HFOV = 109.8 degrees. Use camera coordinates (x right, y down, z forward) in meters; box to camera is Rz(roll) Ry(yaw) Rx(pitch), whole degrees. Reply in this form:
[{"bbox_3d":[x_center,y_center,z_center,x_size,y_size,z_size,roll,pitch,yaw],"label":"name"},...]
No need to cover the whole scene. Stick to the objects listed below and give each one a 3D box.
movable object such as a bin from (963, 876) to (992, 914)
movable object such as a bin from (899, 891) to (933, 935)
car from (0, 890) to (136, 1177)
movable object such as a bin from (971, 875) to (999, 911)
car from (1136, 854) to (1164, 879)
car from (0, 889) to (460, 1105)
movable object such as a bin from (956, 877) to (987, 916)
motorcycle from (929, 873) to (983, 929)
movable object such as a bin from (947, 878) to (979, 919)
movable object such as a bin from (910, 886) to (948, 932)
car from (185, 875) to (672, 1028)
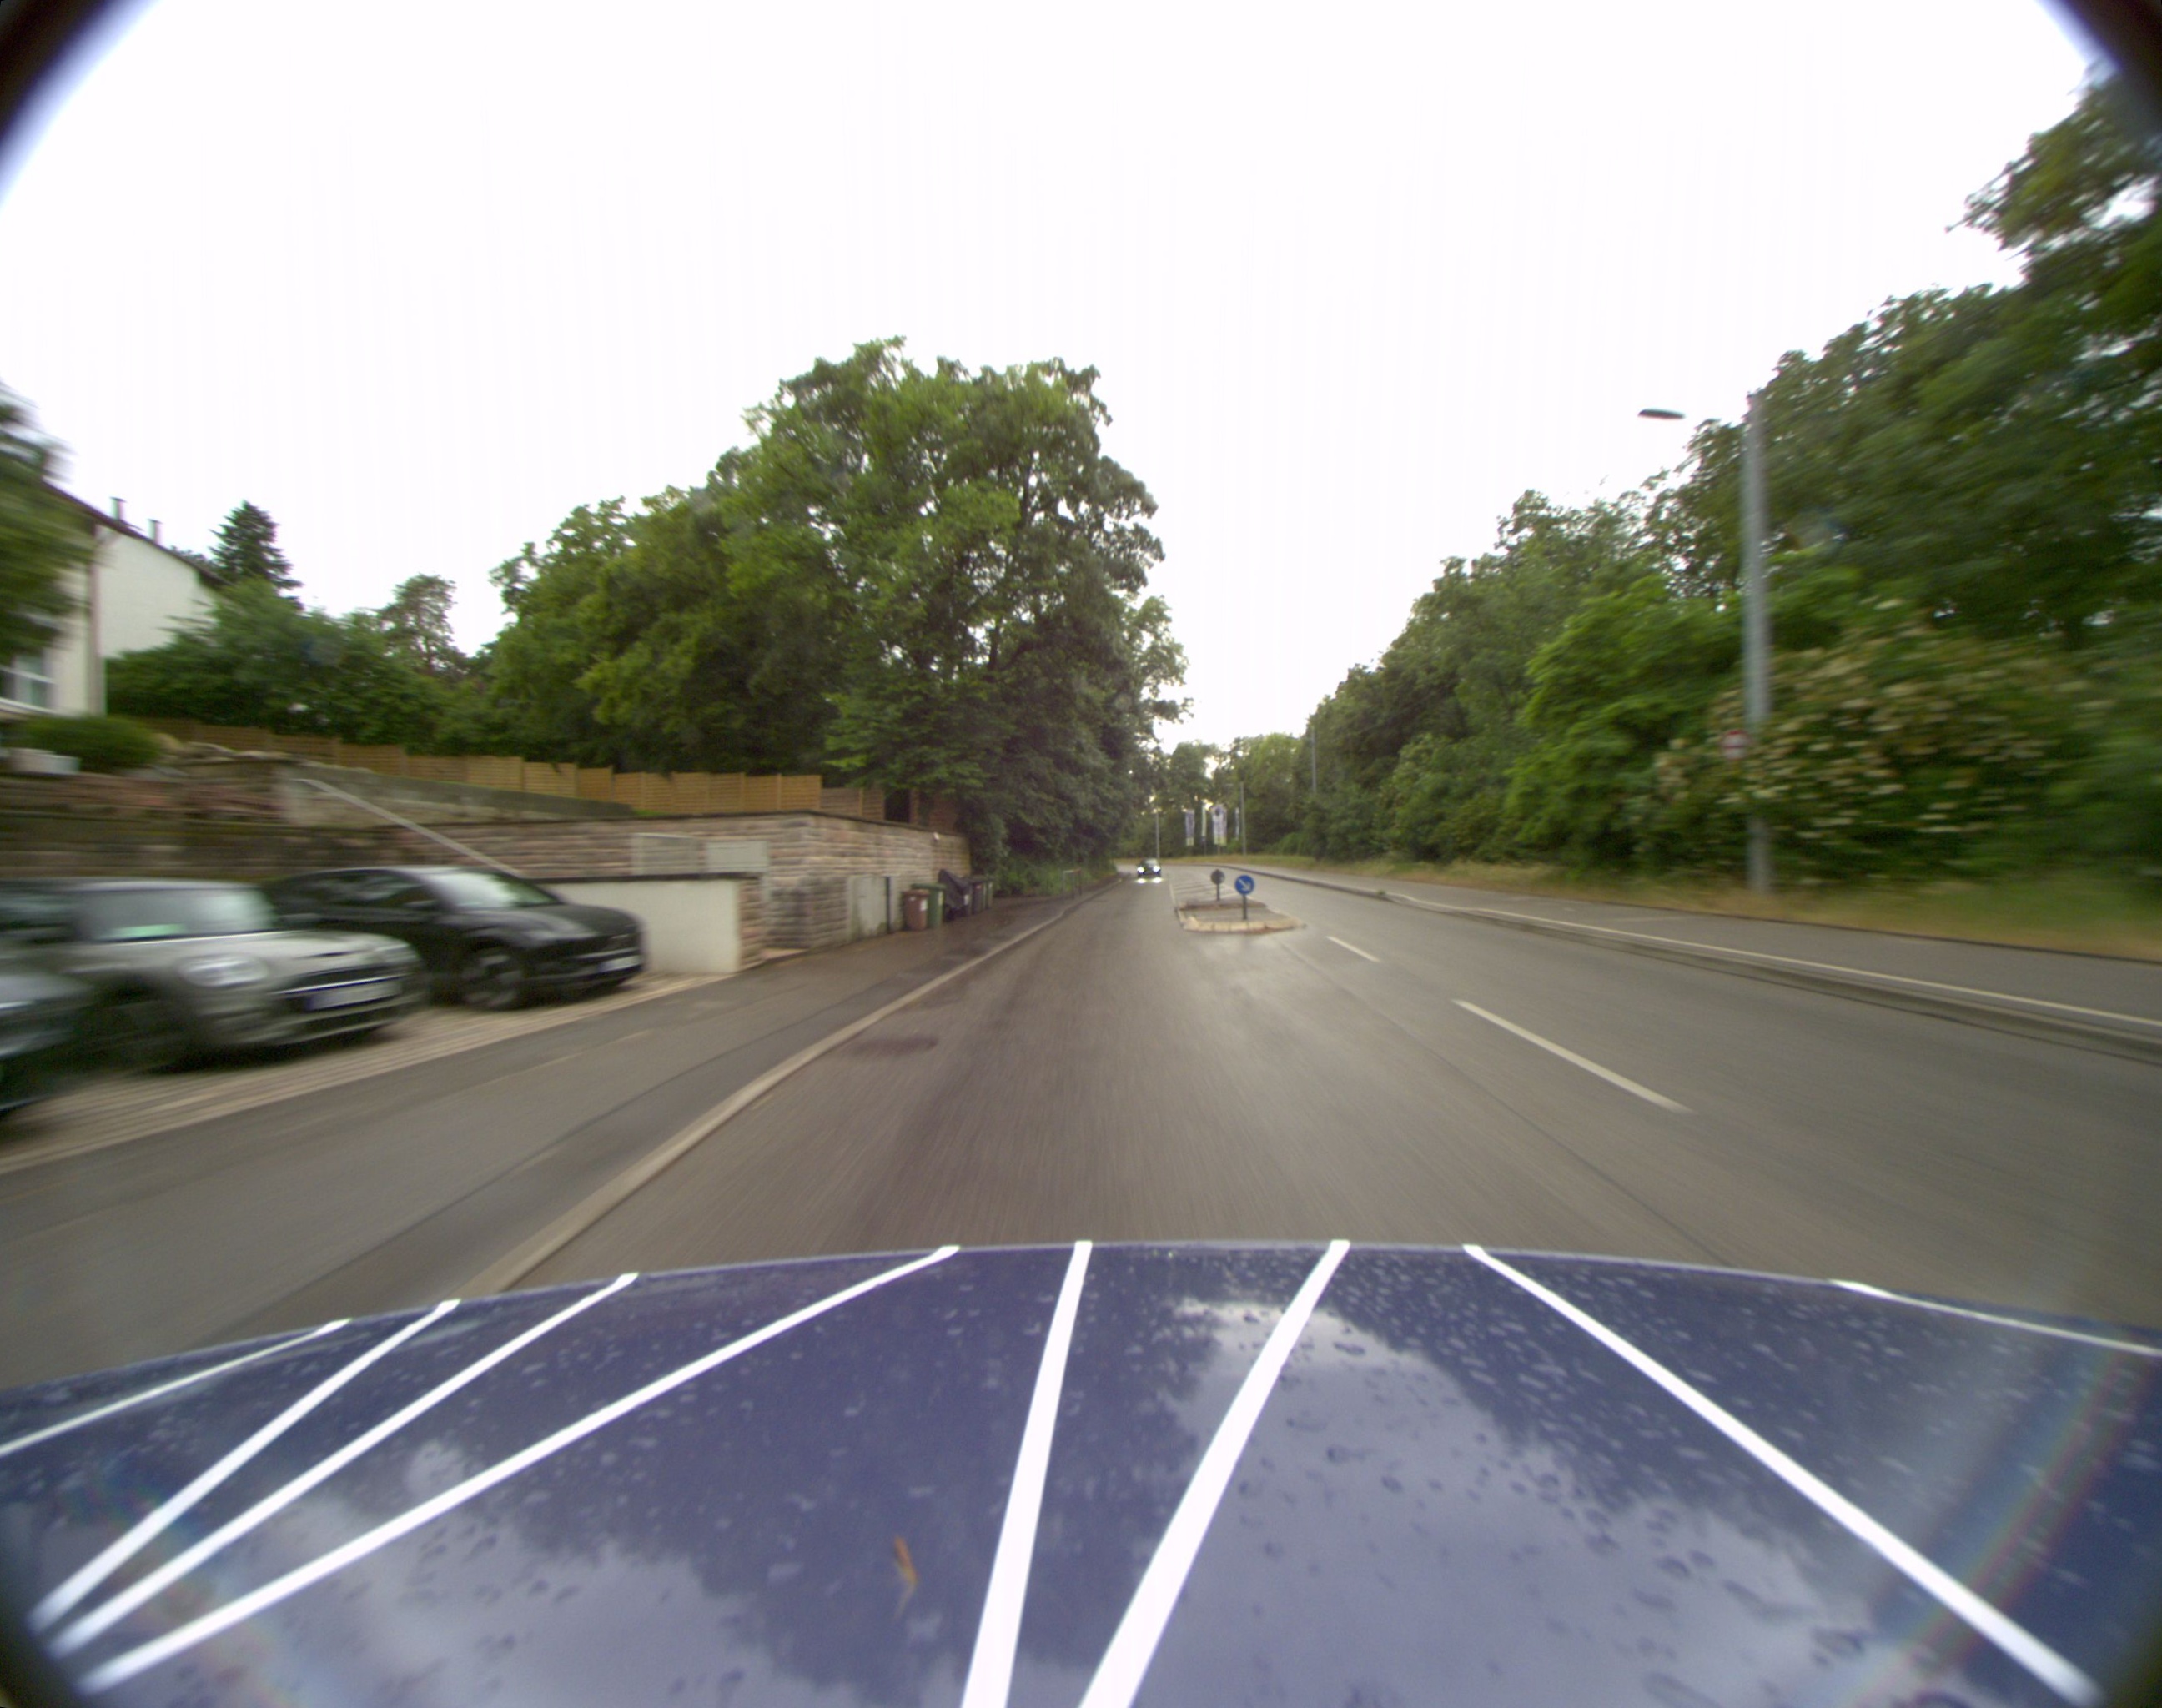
[{"bbox_3d":[-3.048,1.195,22.444,0.666,1.062,0.701,-3,1,7],"label":"movable object such as a bin"},{"bbox_3d":[-3.691,1.313,17.027,0.570,0.931,0.549,-3,1,7],"label":"movable object such as a bin"},{"bbox_3d":[-7.812,0.966,3.913,4.042,1.506,1.960,0,0,10],"label":"car"},{"bbox_3d":[-2.929,1.187,23.259,0.666,1.062,0.701,-3,1,7],"label":"movable object such as a bin"},{"bbox_3d":[5.360,0.963,59.263,1.998,1.714,4.001,-4,0,5],"label":"car"},{"bbox_3d":[-7.726,1.049,6.354,3.643,1.417,1.837,0,0,5],"label":"car"},{"bbox_3d":[-3.118,1.211,21.702,0.666,1.062,0.659,-3,1,7],"label":"movable object such as a bin"},{"bbox_3d":[-3.142,1.157,19.319,0.777,1.237,2.014,-3,0,7],"label":"motorcycle"},{"bbox_3d":[-3.248,1.208,20.898,0.666,1.062,0.659,-3,1,7],"label":"movable object such as a bin"},{"bbox_3d":[-3.542,1.283,17.757,0.666,0.999,0.659,-3,1,7],"label":"movable object such as a bin"},{"bbox_3d":[-7.372,1.024,8.862,4.226,1.498,1.896,0,0,6],"label":"car"}]
